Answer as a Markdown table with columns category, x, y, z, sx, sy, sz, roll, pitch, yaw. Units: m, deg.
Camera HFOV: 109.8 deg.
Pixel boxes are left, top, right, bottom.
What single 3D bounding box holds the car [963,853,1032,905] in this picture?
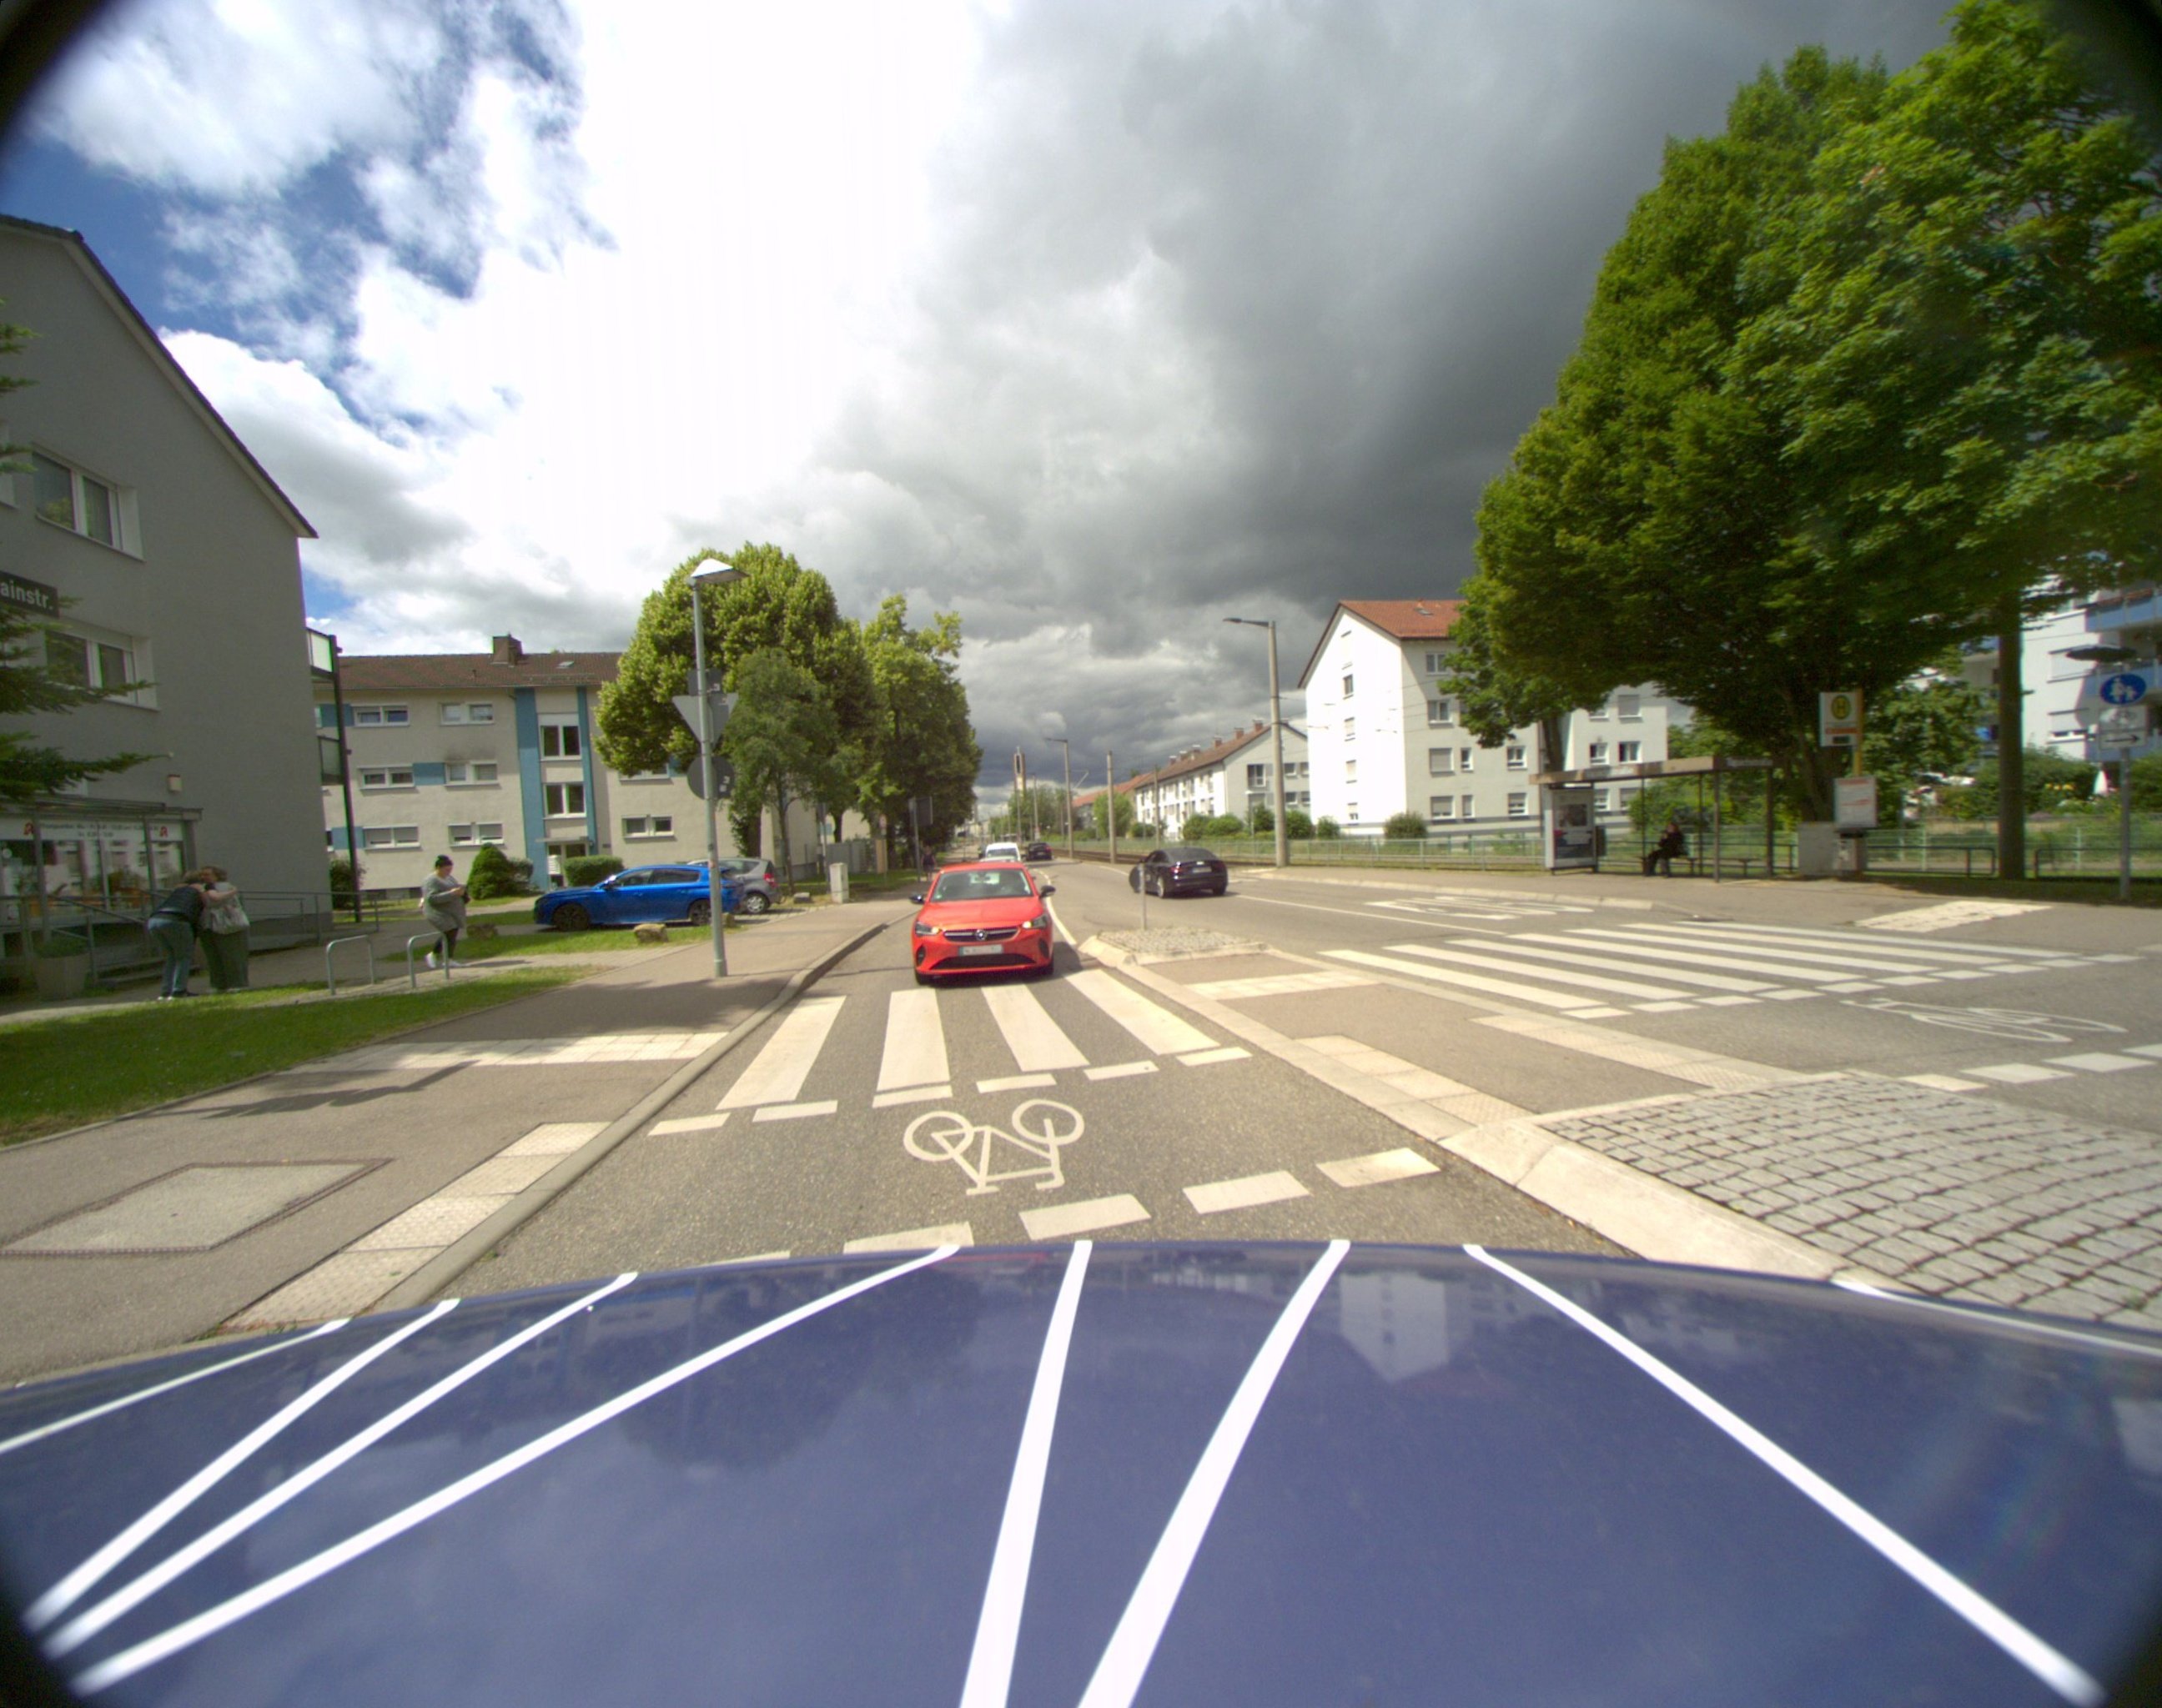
| category | x | y | z | sx | sy | sz | roll | pitch | yaw |
| --- | --- | --- | --- | --- | --- | --- | --- | --- | --- |
| car | -2.611 | 0.732 | 24.599 | 1.764 | 1.390 | 3.998 | -2 | 2 | 0 |

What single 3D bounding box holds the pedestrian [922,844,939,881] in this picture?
| category | x | y | z | sx | sy | sz | roll | pitch | yaw |
| --- | --- | --- | --- | --- | --- | --- | --- | --- | --- |
| pedestrian | -6.951 | 0.384 | 35.057 | 0.684 | 1.651 | 0.830 | -2 | 2 | -13 |

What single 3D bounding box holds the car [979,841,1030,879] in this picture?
| category | x | y | z | sx | sy | sz | roll | pitch | yaw |
| --- | --- | --- | --- | --- | --- | --- | --- | --- | --- |
| car | -3.640 | 0.212 | 35.552 | 2.000 | 1.598 | 3.995 | -2 | 2 | -10 |

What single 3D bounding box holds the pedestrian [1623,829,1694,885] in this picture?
| category | x | y | z | sx | sy | sz | roll | pitch | yaw |
| --- | --- | --- | --- | --- | --- | --- | --- | --- | --- |
| pedestrian | 12.493 | 0.043 | 16.462 | 0.801 | 1.129 | 0.910 | -4 | 2 | -11 |

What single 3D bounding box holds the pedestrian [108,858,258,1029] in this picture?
| category | x | y | z | sx | sy | sz | roll | pitch | yaw |
| --- | --- | --- | --- | --- | --- | --- | --- | --- | --- |
| pedestrian | -11.321 | 1.075 | 9.633 | 0.656 | 2.002 | 1.045 | -3 | 2 | -16 |

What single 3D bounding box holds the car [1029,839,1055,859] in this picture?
| category | x | y | z | sx | sy | sz | roll | pitch | yaw |
| --- | --- | --- | --- | --- | --- | --- | --- | --- | --- |
| car | -3.213 | -0.404 | 62.399 | 1.999 | 1.517 | 4.522 | -2 | 0 | -4 |

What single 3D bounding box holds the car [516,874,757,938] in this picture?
| category | x | y | z | sx | sy | sz | roll | pitch | yaw |
| --- | --- | --- | --- | --- | --- | --- | --- | --- | --- |
| car | -10.130 | 1.157 | 17.760 | 4.500 | 1.236 | 1.997 | 0 | 1 | -17 |

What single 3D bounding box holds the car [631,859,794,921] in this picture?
| category | x | y | z | sx | sy | sz | roll | pitch | yaw |
| --- | --- | --- | --- | --- | --- | --- | --- | --- | --- |
| car | -10.089 | 0.940 | 21.136 | 3.743 | 1.548 | 2.029 | -1 | 1 | -15 |

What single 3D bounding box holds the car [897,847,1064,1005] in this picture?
| category | x | y | z | sx | sy | sz | roll | pitch | yaw |
| --- | --- | --- | --- | --- | --- | --- | --- | --- | --- |
| car | -1.319 | 0.799 | 10.610 | 1.766 | 1.549 | 3.996 | -5 | 2 | -5 |

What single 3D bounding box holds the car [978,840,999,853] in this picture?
| category | x | y | z | sx | sy | sz | roll | pitch | yaw |
| --- | --- | --- | --- | --- | --- | --- | --- | --- | --- |
| car | -10.608 | -0.845 | 87.155 | 1.918 | 1.309 | 3.998 | -2 | 2 | 0 |

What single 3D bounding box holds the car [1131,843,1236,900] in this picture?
| category | x | y | z | sx | sy | sz | roll | pitch | yaw |
| --- | --- | --- | --- | --- | --- | --- | --- | --- | --- |
| car | 2.865 | 0.427 | 22.310 | 1.823 | 1.376 | 4.613 | -2 | 2 | -9 |

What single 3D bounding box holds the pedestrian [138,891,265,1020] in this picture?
| category | x | y | z | sx | sy | sz | roll | pitch | yaw |
| --- | --- | --- | --- | --- | --- | --- | --- | --- | --- |
| pedestrian | -11.341 | 1.283 | 9.831 | 0.744 | 1.521 | 0.690 | -3 | 2 | -16 |

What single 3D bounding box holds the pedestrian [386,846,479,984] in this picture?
| category | x | y | z | sx | sy | sz | roll | pitch | yaw |
| --- | --- | --- | --- | --- | --- | --- | --- | --- | --- |
| pedestrian | -9.773 | 0.877 | 11.482 | 0.944 | 1.945 | 0.840 | -4 | 3 | -40 |
